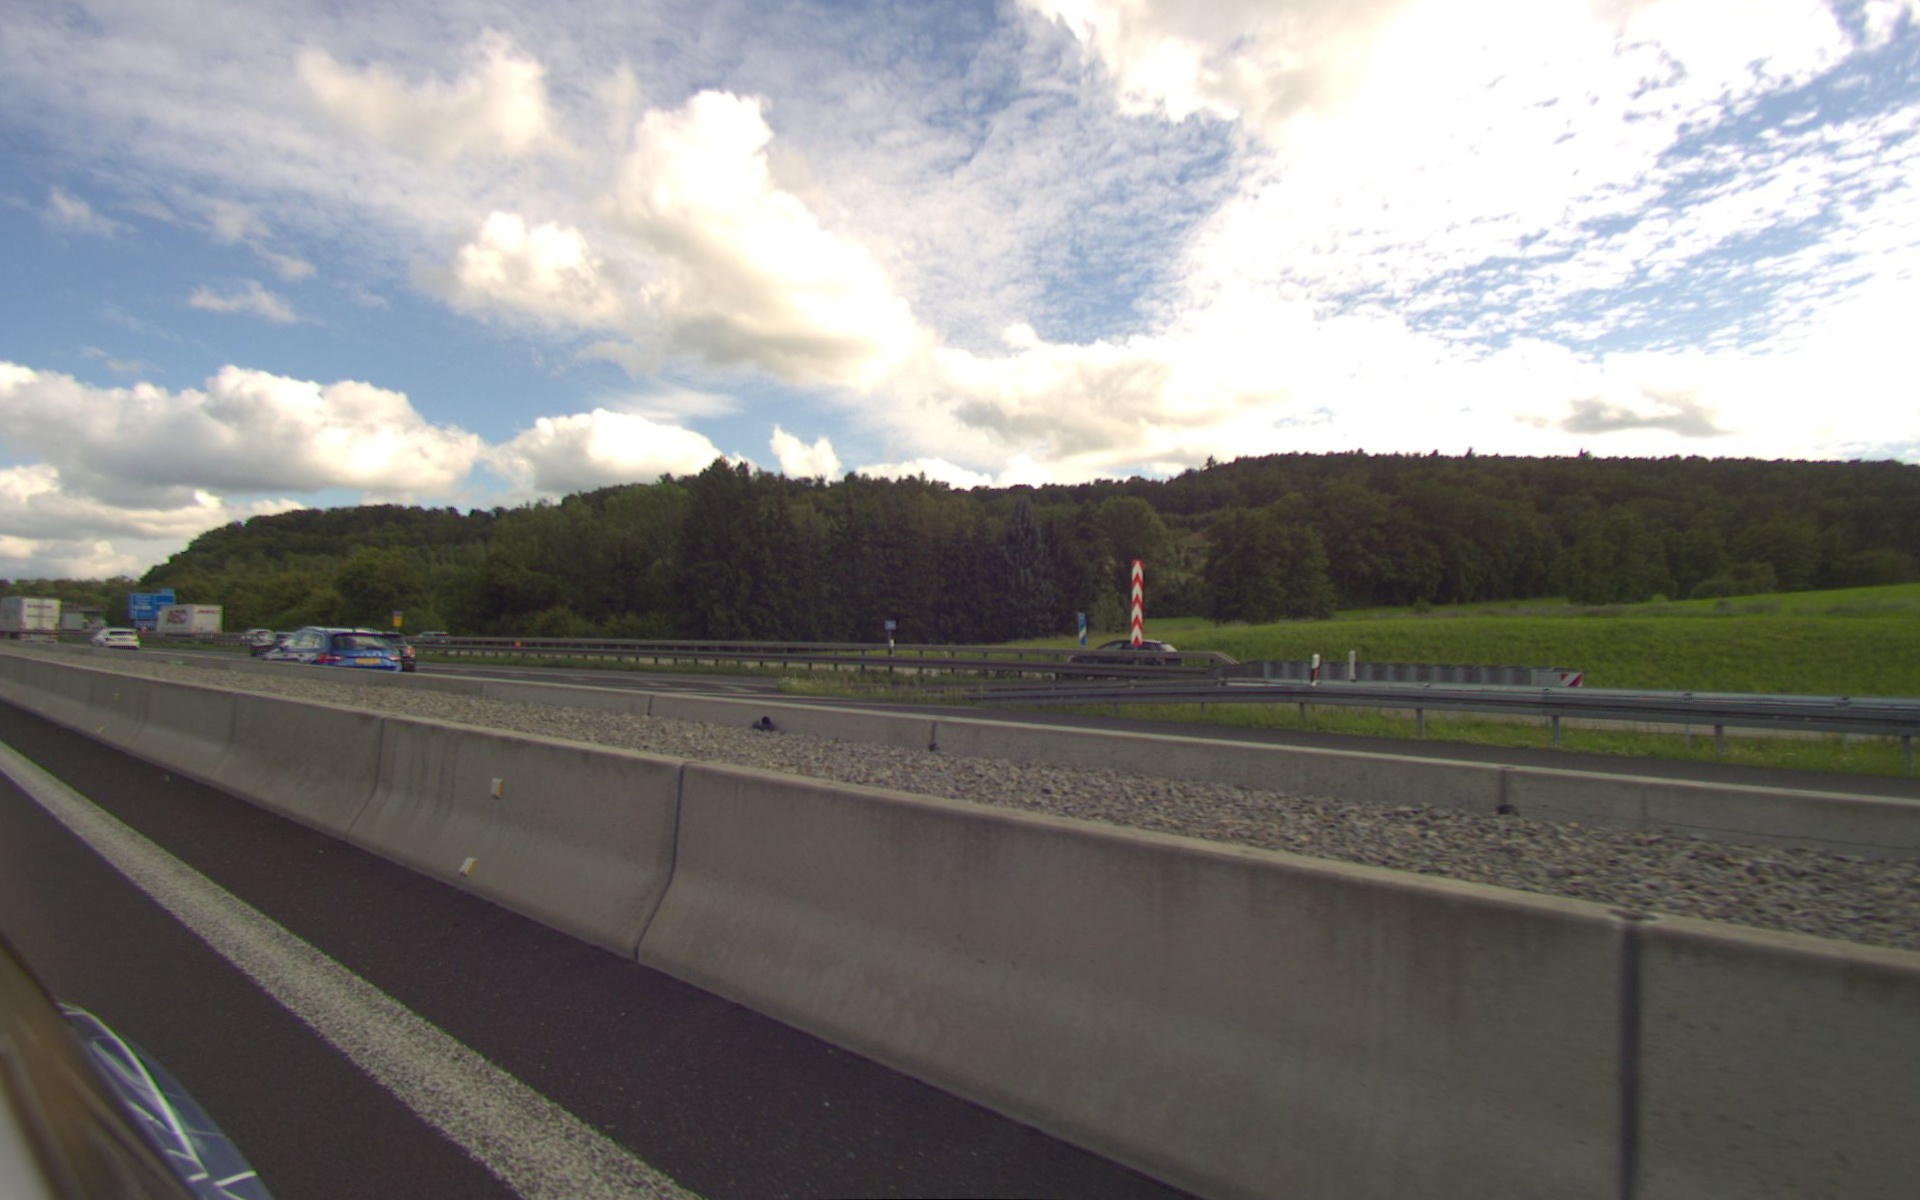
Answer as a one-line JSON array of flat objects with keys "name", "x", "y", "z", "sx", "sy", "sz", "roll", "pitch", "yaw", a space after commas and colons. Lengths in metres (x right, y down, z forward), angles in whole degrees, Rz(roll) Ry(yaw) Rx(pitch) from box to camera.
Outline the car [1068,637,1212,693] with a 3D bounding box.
[{"name": "car", "x": 5.781, "y": 2.058, "z": 32.759, "sx": 4.300, "sy": 1.630, "sz": 1.782, "roll": -1, "pitch": -3, "yaw": 42}]

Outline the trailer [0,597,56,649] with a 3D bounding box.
[{"name": "trailer", "x": -80.912, "y": 2.010, "z": 87.468, "sx": 13.278, "sy": 4.160, "sz": 2.462, "roll": -1, "pitch": -3, "yaw": 42}]

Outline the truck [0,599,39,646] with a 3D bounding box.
[{"name": "truck", "x": -85.567, "y": 2.069, "z": 91.619, "sx": 5.297, "sy": 4.160, "sz": 2.462, "roll": -1, "pitch": -3, "yaw": 42}]

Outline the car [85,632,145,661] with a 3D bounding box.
[{"name": "car", "x": -50.456, "y": 2.787, "z": 60.400, "sx": 5.000, "sy": 1.630, "sz": 1.972, "roll": -1, "pitch": -3, "yaw": 42}]

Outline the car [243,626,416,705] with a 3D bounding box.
[{"name": "car", "x": -14.676, "y": 1.437, "z": 23.415, "sx": 5.416, "sy": 1.630, "sz": 1.907, "roll": -1, "pitch": -3, "yaw": 42}]

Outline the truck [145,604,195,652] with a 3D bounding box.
[{"name": "truck", "x": -89.051, "y": 3.162, "z": 114.104, "sx": 6.625, "sy": 5.181, "sz": 2.994, "roll": -1, "pitch": -3, "yaw": 40}]

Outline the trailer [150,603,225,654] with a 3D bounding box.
[{"name": "trailer", "x": -83.915, "y": 3.059, "z": 109.830, "sx": 14.705, "sy": 5.200, "sz": 3.077, "roll": -1, "pitch": -3, "yaw": 40}]

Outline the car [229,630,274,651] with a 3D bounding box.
[{"name": "car", "x": -57.978, "y": 3.303, "z": 82.775, "sx": 4.706, "sy": 1.630, "sz": 1.972, "roll": -1, "pitch": -3, "yaw": 42}]

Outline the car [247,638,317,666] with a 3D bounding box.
[{"name": "car", "x": -38.543, "y": 2.914, "z": 57.460, "sx": 4.998, "sy": 1.462, "sz": 1.973, "roll": -1, "pitch": -3, "yaw": 40}]

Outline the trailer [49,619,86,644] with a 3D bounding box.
[{"name": "trailer", "x": -155.403, "y": 5.417, "z": 176.194, "sx": 13.381, "sy": 4.125, "sz": 3.118, "roll": -1, "pitch": -3, "yaw": 42}]
